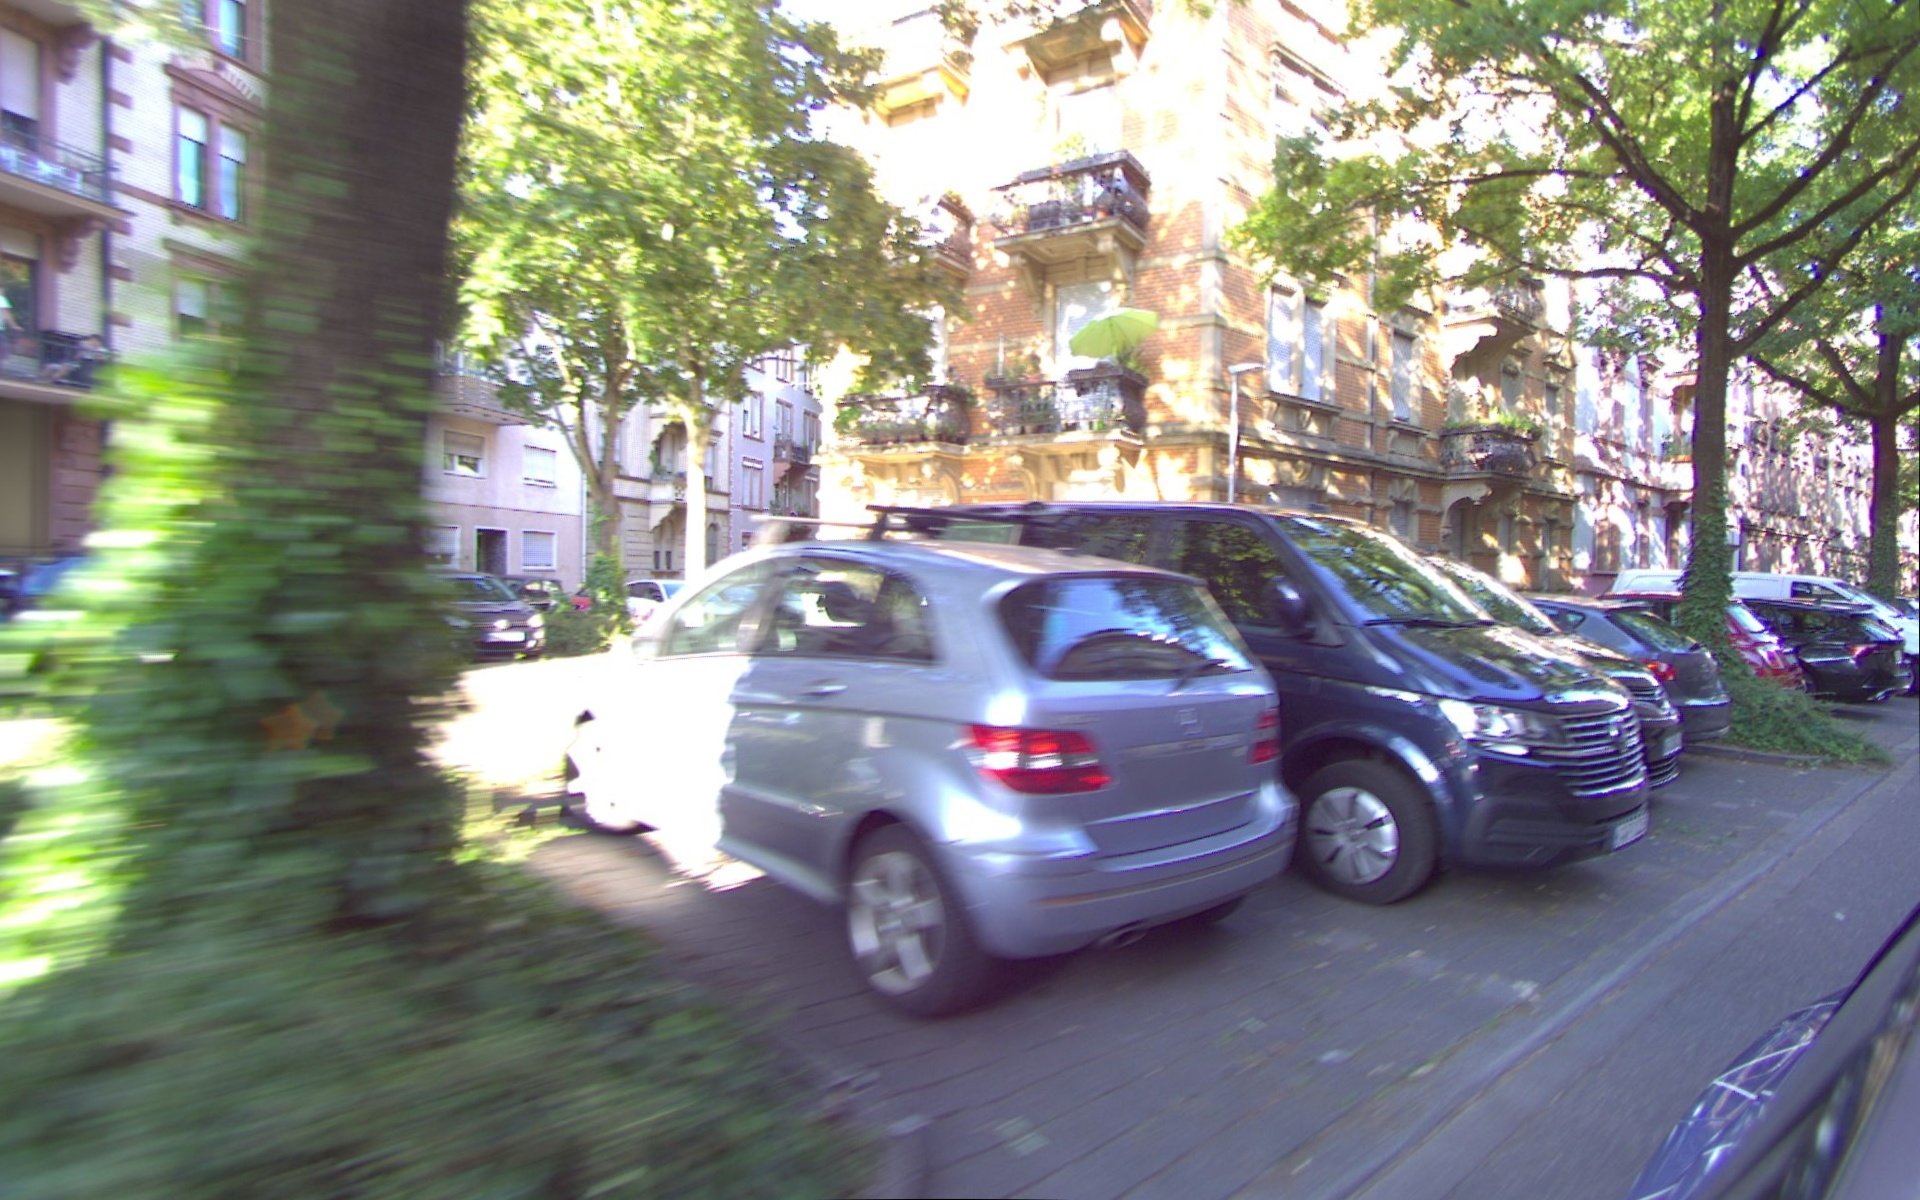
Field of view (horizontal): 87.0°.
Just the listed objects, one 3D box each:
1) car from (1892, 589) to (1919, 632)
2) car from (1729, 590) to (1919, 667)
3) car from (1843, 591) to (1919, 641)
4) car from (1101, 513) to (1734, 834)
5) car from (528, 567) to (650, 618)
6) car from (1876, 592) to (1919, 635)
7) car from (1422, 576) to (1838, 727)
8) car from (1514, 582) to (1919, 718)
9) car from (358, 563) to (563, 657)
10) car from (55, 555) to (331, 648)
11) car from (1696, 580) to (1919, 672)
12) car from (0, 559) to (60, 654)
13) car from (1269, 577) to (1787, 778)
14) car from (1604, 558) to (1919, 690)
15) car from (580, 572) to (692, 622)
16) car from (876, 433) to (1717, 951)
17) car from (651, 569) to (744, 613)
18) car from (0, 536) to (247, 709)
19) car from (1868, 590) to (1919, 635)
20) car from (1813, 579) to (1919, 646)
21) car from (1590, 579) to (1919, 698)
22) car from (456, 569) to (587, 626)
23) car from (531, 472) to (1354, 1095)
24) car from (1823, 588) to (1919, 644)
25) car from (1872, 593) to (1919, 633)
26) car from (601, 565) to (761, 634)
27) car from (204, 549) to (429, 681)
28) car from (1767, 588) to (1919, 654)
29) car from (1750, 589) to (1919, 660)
[{"bbox_3d":[40.019,0.468,40.035,1.859,1.676,4.484,-2,3,-41],"label":"car"},{"bbox_3d":[20.027,0.598,22.686,1.778,1.521,4.116,0,2,-39],"label":"car"},{"bbox_3d":[30.865,0.541,32.229,1.753,1.480,3.992,0,2,-43],"label":"car"},{"bbox_3d":[3.438,0.362,8.229,1.907,1.908,4.273,0,2,-43],"label":"car"},{"bbox_3d":[-11.230,-0.260,30.537,3.986,1.389,1.824,3,2,42],"label":"car"},{"bbox_3d":[36.187,0.533,36.727,1.771,1.555,4.228,1,1,-43],"label":"car"},{"bbox_3d":[8.398,0.518,13.000,1.810,1.516,4.091,0,2,-40],"label":"car"},{"bbox_3d":[10.481,0.552,14.158,1.899,1.473,4.380,0,2,-40],"label":"car"},{"bbox_3d":[-8.146,0.086,16.340,1.832,1.292,4.059,0,2,-44],"label":"car"},{"bbox_3d":[-14.982,-0.023,20.106,1.838,1.602,4.230,1,1,12],"label":"car"},{"bbox_3d":[17.775,0.478,20.891,1.695,1.669,3.890,0,2,-42],"label":"car"},{"bbox_3d":[-16.225,0.106,14.888,1.838,1.493,4.230,1,1,12],"label":"car"},{"bbox_3d":[5.282,0.562,9.911,1.854,1.466,4.000,0,2,-36],"label":"car"},{"bbox_3d":[14.544,0.284,17.737,2.121,1.963,5.103,-4,5,-40],"label":"car"},{"bbox_3d":[-11.144,-0.149,35.120,1.838,1.602,4.230,1,1,12],"label":"car"},{"bbox_3d":[1.677,0.278,6.361,1.966,2.038,4.622,0,2,-42],"label":"car"},{"bbox_3d":[-10.239,-0.367,39.803,1.838,1.602,4.230,1,1,12],"label":"car"},{"bbox_3d":[-9.486,0.122,11.053,4.290,1.523,1.886,3,2,42],"label":"car"},{"bbox_3d":[33.097,0.518,33.711,1.648,1.404,3.997,0,5,-41],"label":"car"},{"bbox_3d":[27.228,0.404,28.505,1.850,1.723,4.651,0,4,-43],"label":"car"},{"bbox_3d":[12.486,0.503,16.024,3.987,1.492,1.754,4,3,43],"label":"car"},{"bbox_3d":[-12.099,-0.112,27.809,3.986,1.389,1.824,3,2,42],"label":"car"},{"bbox_3d":[-0.454,0.433,4.867,1.769,1.713,3.994,0,2,-42],"label":"car"},{"bbox_3d":[28.879,0.500,30.630,1.753,1.610,3.992,0,2,-43],"label":"car"},{"bbox_3d":[37.873,0.553,38.796,1.768,1.488,4.111,1,1,-39],"label":"car"},{"bbox_3d":[-6.506,-0.065,23.314,1.820,1.389,4.404,0,2,-41],"label":"car"},{"bbox_3d":[-8.856,0.117,13.782,1.832,1.529,4.059,0,1,-44],"label":"car"},{"bbox_3d":[24.084,0.536,26.269,1.964,1.548,4.564,0,2,-39],"label":"car"},{"bbox_3d":[22.183,0.581,24.392,1.898,1.521,4.669,0,2,-40],"label":"car"}]
